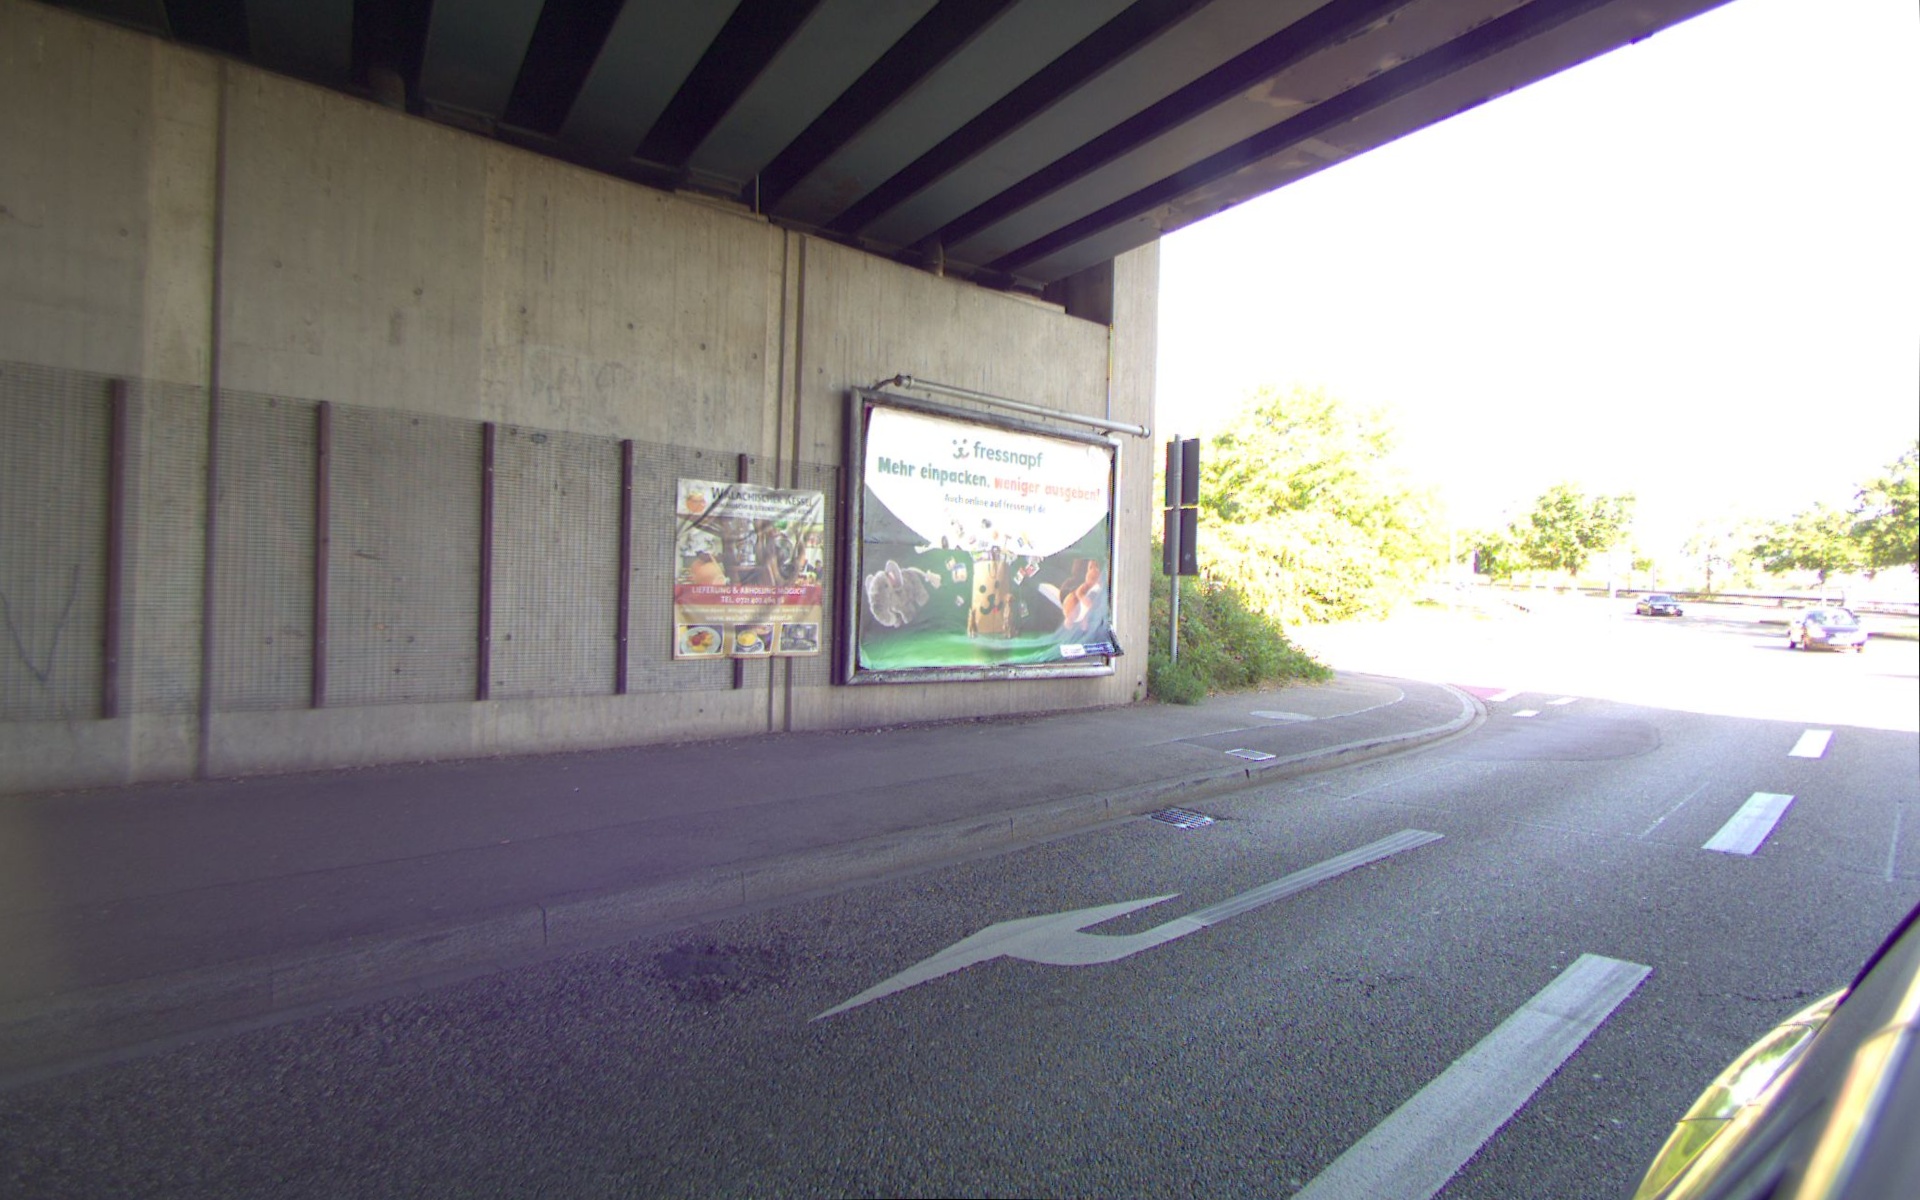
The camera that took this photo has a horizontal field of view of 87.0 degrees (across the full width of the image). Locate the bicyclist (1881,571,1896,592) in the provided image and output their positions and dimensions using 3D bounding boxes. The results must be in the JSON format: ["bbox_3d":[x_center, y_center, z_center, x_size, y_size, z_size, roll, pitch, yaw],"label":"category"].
[{"bbox_3d":[65.661,-1.324,71.570,0.586,1.445,0.704,0,0,21],"label":"bicyclist"}]

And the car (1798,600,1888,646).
[{"bbox_3d":[30.599,0.792,35.190,1.726,1.438,4.267,1,-1,33],"label":"car"}]

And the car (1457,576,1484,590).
[{"bbox_3d":[59.626,-1.954,118.271,1.822,1.501,3.965,2,0,13],"label":"car"}]

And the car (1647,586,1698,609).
[{"bbox_3d":[48.342,-0.171,68.739,1.835,1.498,4.200,0,1,21],"label":"car"}]

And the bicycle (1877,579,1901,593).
[{"bbox_3d":[65.660,-0.984,71.559,0.586,1.036,1.739,0,0,20],"label":"bicycle"}]

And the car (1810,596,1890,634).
[{"bbox_3d":[37.211,0.594,42.416,1.835,1.438,3.937,1,1,31],"label":"car"}]
